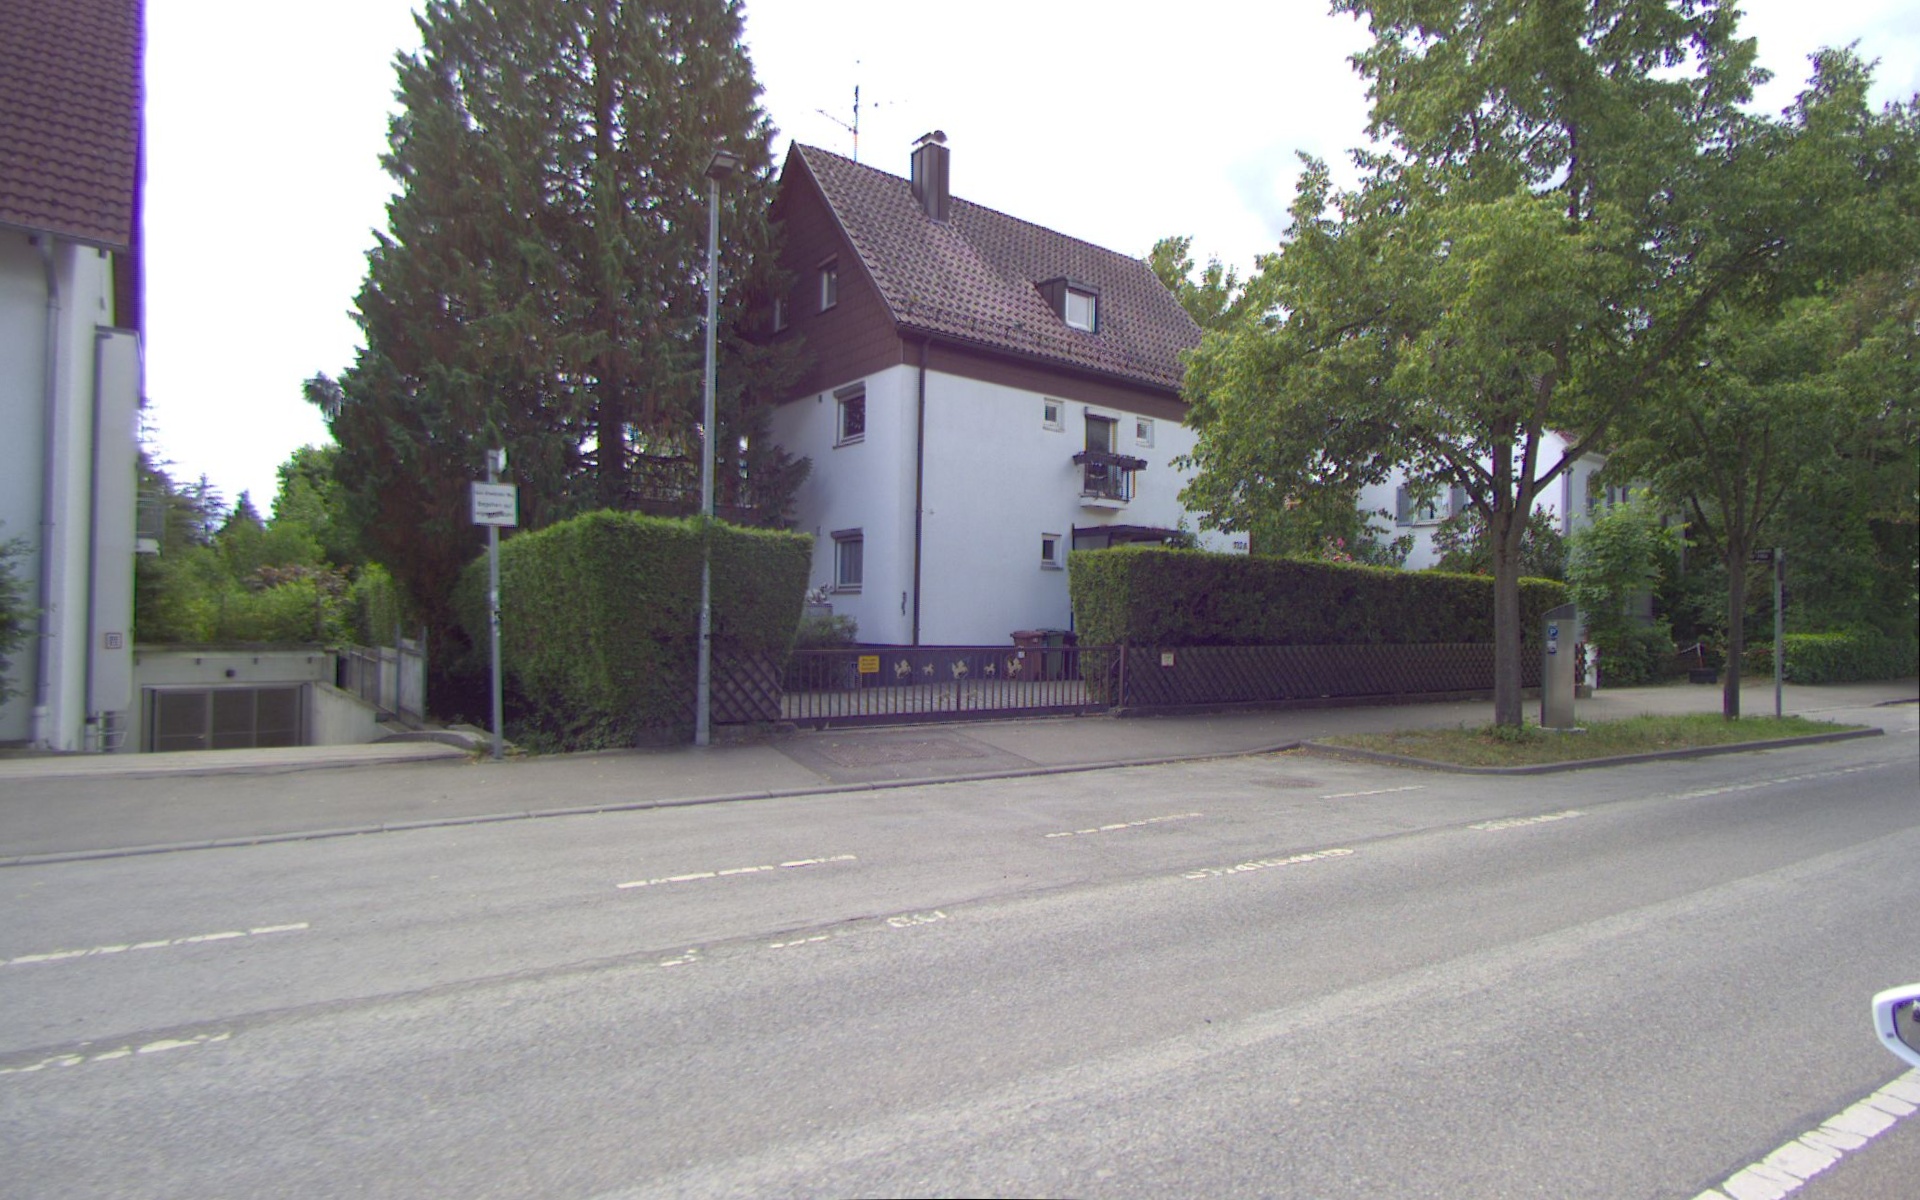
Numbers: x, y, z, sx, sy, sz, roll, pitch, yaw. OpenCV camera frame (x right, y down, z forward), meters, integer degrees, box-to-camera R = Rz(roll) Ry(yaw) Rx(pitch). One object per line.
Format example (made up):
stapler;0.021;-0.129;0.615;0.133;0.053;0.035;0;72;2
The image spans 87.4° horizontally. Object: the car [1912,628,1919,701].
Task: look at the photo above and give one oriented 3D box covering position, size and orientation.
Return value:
car;24.358;1.472;23.433;4.986;1.668;2.082;1;-2;-34
